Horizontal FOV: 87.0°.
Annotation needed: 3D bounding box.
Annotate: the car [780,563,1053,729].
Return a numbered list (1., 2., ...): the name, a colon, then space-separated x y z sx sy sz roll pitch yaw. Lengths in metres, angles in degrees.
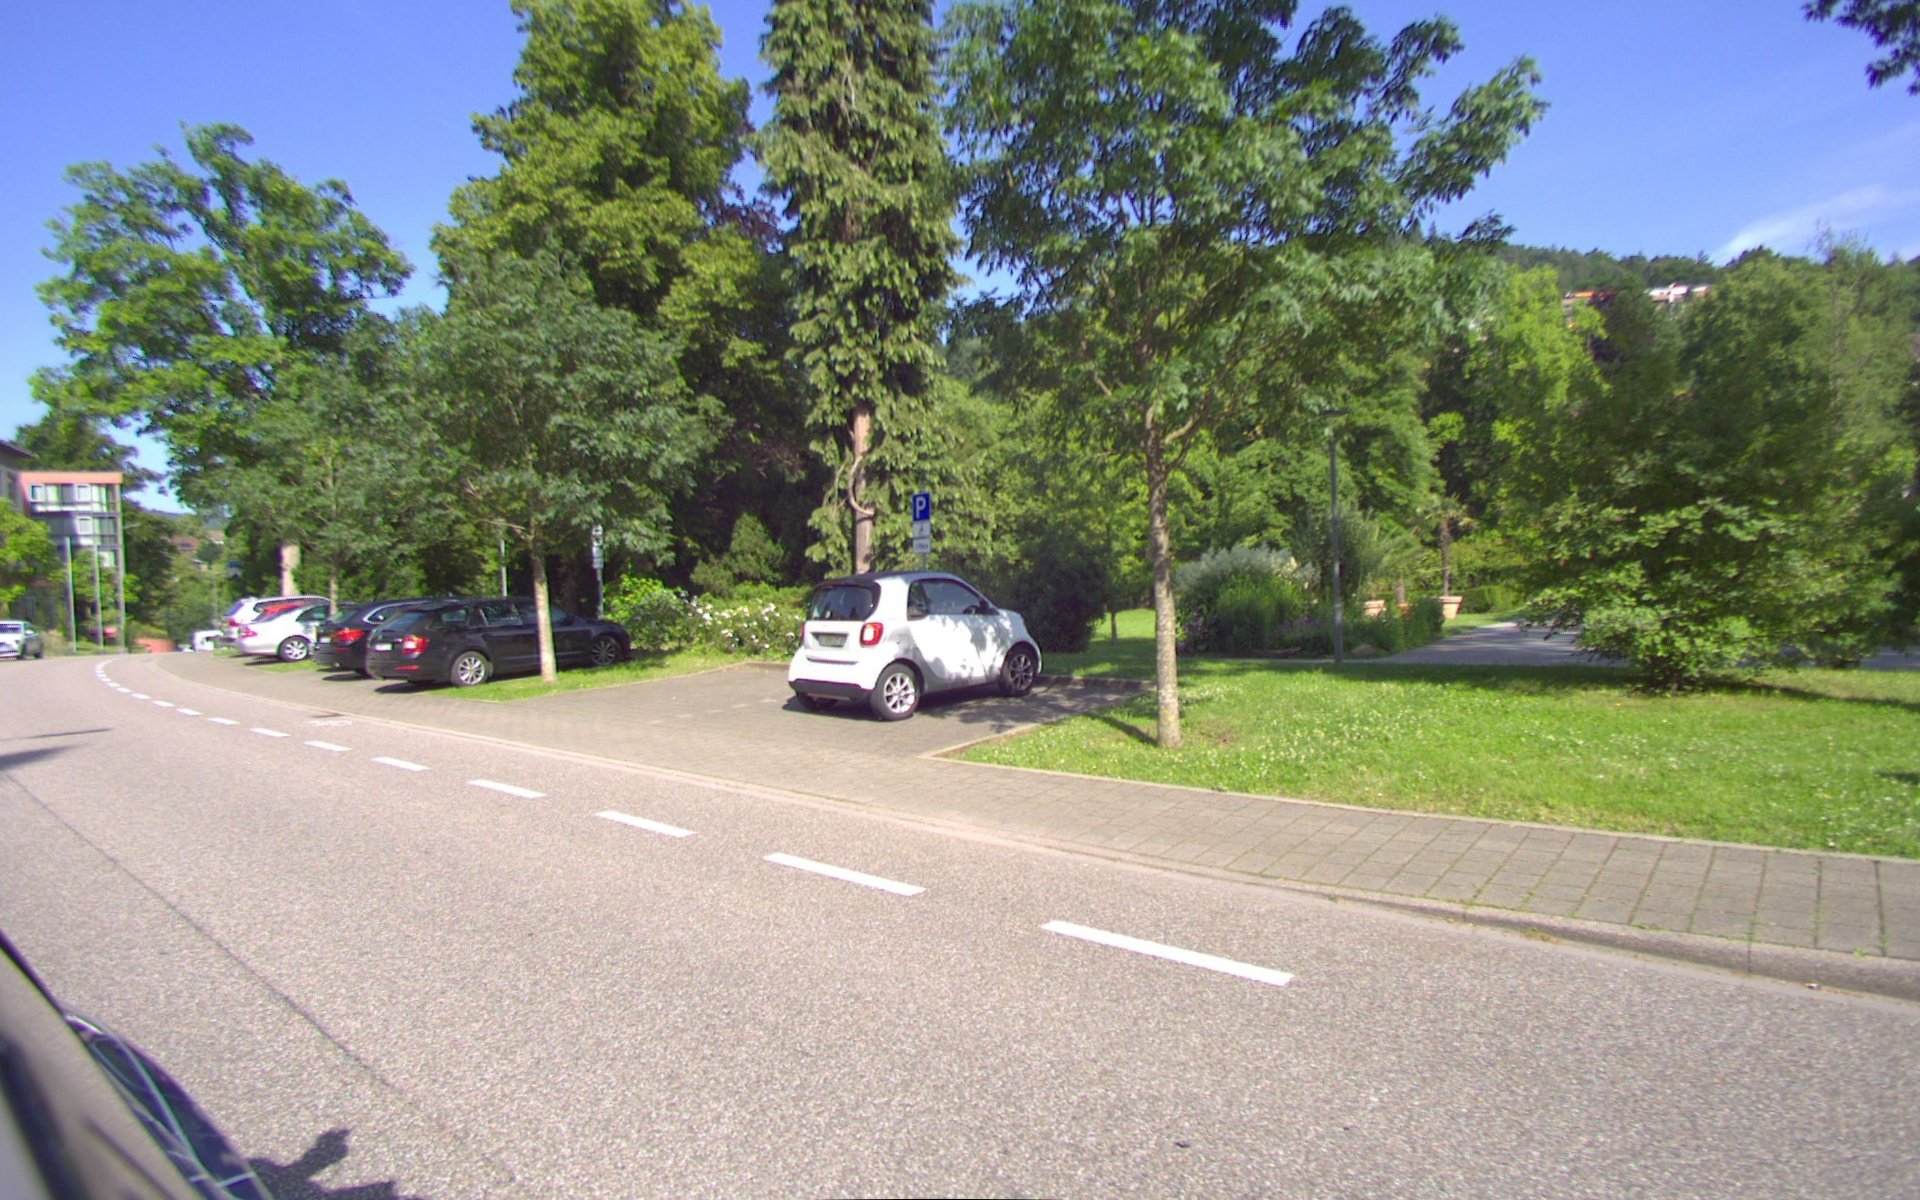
1. car: -0.464 0.439 11.687 2.620 1.558 1.684 -5 3 -43

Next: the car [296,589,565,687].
1. car: -10.544 0.685 20.460 1.712 1.521 4.449 -2 3 40

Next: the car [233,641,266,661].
1. car: -55.925 3.996 79.654 1.711 1.408 4.012 -2 0 -30

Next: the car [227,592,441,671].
1. car: -16.146 0.737 26.220 4.427 1.427 1.814 -8 5 -38

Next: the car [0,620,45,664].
1. car: -35.253 1.576 37.179 1.712 1.508 3.940 -1 -2 -32

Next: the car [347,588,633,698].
1. car: -8.109 0.661 17.840 1.709 1.442 4.240 -2 3 35

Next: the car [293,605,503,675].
1. car: -12.642 0.848 22.942 1.762 1.252 3.755 -1 2 41

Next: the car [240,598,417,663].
1. car: -17.890 0.803 28.761 3.940 1.443 1.722 -6 3 -42

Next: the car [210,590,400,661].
1. car: -19.641 0.696 30.488 1.810 1.675 4.434 0 4 44
